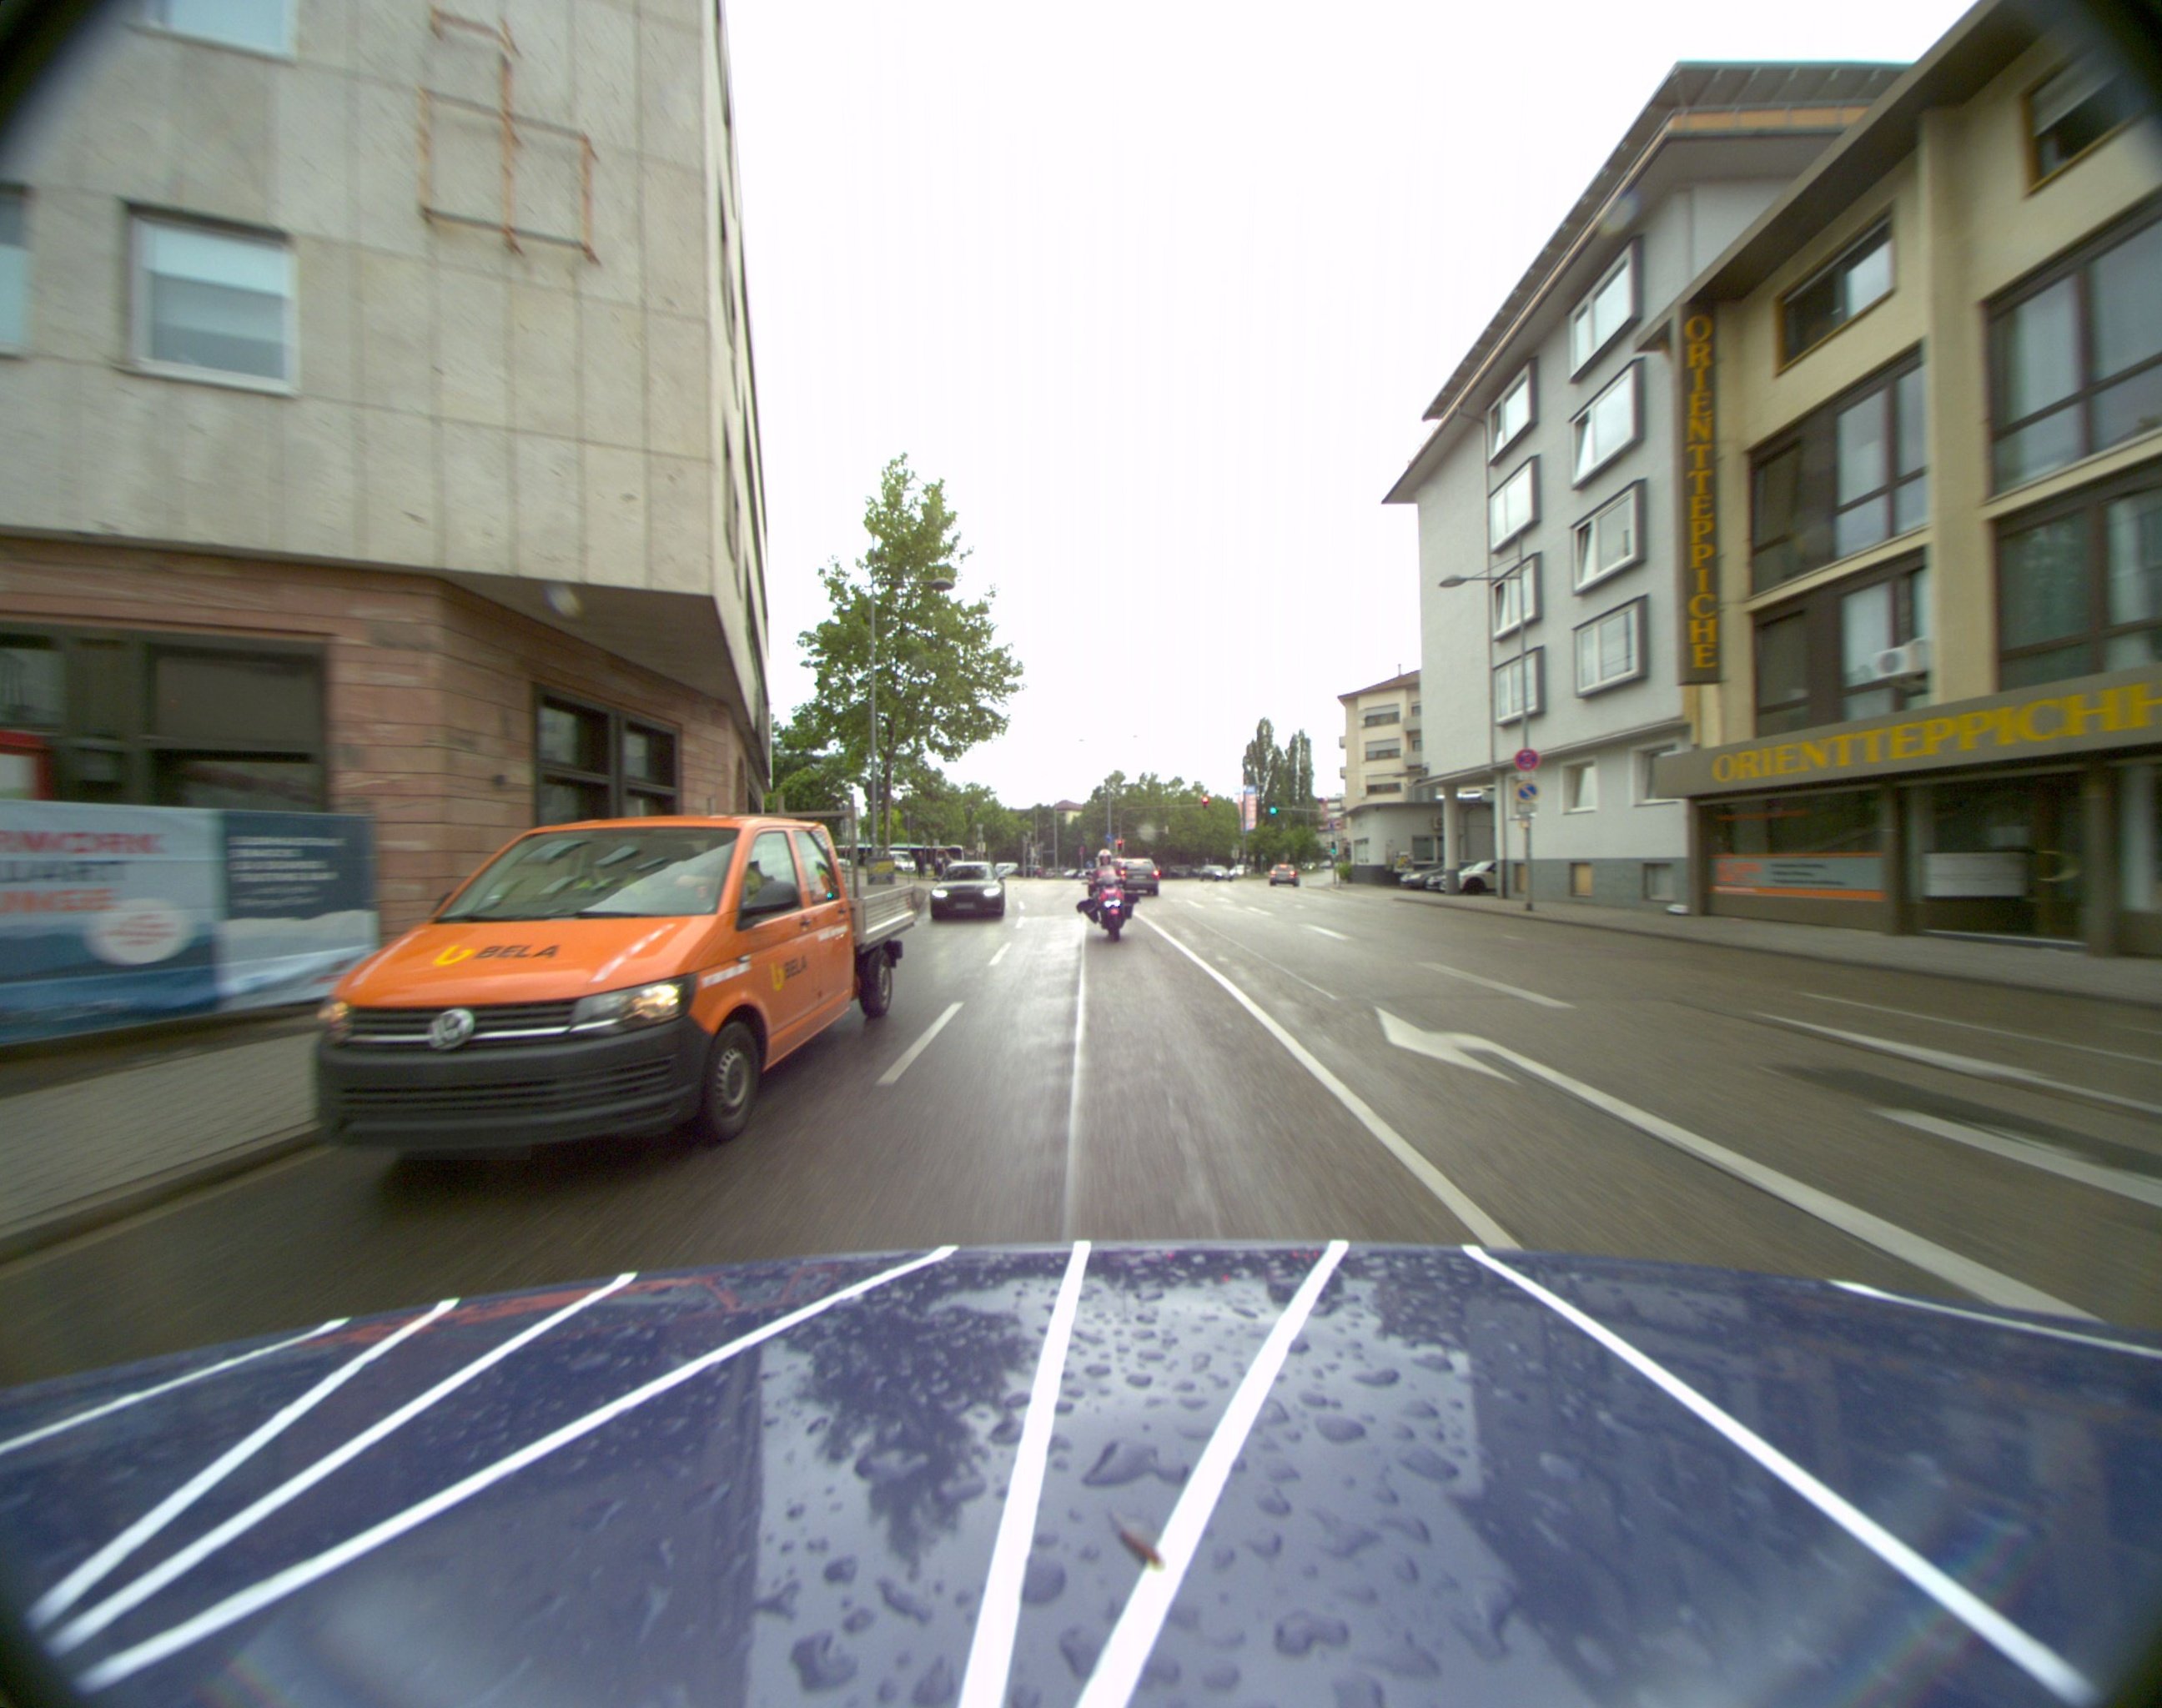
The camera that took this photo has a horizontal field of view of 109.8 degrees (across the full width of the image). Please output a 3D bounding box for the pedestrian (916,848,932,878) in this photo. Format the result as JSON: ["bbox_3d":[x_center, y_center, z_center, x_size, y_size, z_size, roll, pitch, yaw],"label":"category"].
[{"bbox_3d":[-9.211,0.507,44.503,0.573,1.676,0.961,4,0,-27],"label":"pedestrian"}]

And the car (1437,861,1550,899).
[{"bbox_3d":[16.432,1.025,30.358,3.632,1.330,1.495,2,0,-1],"label":"car"}]

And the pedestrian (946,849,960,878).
[{"bbox_3d":[-8.328,0.618,49.388,0.744,1.819,0.693,3,-1,-17],"label":"pedestrian"}]

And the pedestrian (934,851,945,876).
[{"bbox_3d":[-9.946,0.685,53.357,0.559,1.695,0.527,2,-1,-26],"label":"pedestrian"}]

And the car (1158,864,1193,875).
[{"bbox_3d":[14.233,2.379,114.308,4.742,1.396,1.866,-4,-2,31],"label":"car"}]

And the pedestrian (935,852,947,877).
[{"bbox_3d":[-9.060,0.662,49.280,0.602,1.590,0.706,3,0,-16],"label":"pedestrian"}]

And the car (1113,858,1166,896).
[{"bbox_3d":[2.314,0.896,31.170,1.737,1.431,4.413,0,0,-1],"label":"car"}]

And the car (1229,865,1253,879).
[{"bbox_3d":[19.130,2.136,90.722,1.893,1.566,4.369,1,-1,25],"label":"car"}]

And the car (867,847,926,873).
[{"bbox_3d":[-16.386,0.514,67.304,2.260,2.221,6.323,1,0,-42],"label":"car"}]

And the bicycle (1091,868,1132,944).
[{"bbox_3d":[0.605,0.938,14.622,0.717,1.298,2.428,-1,0,3],"label":"bicycle"}]

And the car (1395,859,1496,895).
[{"bbox_3d":[16.955,1.047,35.502,3.821,1.413,1.797,2,1,2],"label":"car"}]

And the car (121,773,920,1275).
[{"bbox_3d":[-2.951,0.739,5.975,2.107,2.077,5.542,-1,0,0],"label":"car"}]

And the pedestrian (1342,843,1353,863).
[{"bbox_3d":[24.728,-0.077,70.538,0.778,1.718,0.662,-5,-3,30],"label":"pedestrian"}]

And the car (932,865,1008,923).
[{"bbox_3d":[-3.222,1.067,21.850,1.898,1.396,4.357,-2,0,-9],"label":"car"}]

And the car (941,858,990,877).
[{"bbox_3d":[-8.986,1.043,58.994,1.799,1.366,4.085,1,0,-42],"label":"car"}]

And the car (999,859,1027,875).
[{"bbox_3d":[-10.472,2.021,116.993,1.968,2.305,5.023,1,-2,25],"label":"car"}]

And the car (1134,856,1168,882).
[{"bbox_3d":[4.645,1.012,50.148,1.758,1.604,4.216,1,-1,12],"label":"car"}]

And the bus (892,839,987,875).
[{"bbox_3d":[-13.865,0.250,73.993,9.631,3.197,2.711,1,-1,31],"label":"bus"}]

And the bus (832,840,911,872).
[{"bbox_3d":[-21.679,0.156,78.604,8.536,3.162,2.693,0,0,31],"label":"bus"}]

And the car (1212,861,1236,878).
[{"bbox_3d":[12.917,1.387,68.830,1.802,1.425,4.400,-2,-1,8],"label":"car"}]

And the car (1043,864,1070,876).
[{"bbox_3d":[-3.382,2.259,105.228,1.758,1.581,4.186,1,-2,28],"label":"car"}]

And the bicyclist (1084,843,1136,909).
[{"bbox_3d":[0.568,0.439,14.556,0.963,1.218,0.715,-1,-4,3],"label":"bicyclist"}]

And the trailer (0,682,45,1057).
[{"bbox_3d":[-9.289,0.132,3.656,2.640,3.158,5.704,1,0,-25],"label":"trailer"}]

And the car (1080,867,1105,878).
[{"bbox_3d":[1.622,2.619,108.285,1.734,1.431,4.454,1,-2,27],"label":"car"}]

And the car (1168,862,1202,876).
[{"bbox_3d":[16.165,2.309,118.288,4.839,1.930,1.955,-4,-2,31],"label":"car"}]

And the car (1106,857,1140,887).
[{"bbox_3d":[2.132,0.895,38.578,1.647,1.444,3.991,0,-1,3],"label":"car"}]

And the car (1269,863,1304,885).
[{"bbox_3d":[13.750,1.359,50.638,1.730,1.357,4.118,-1,-2,22],"label":"car"}]

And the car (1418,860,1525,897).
[{"bbox_3d":[16.978,1.034,33.153,3.765,1.412,1.638,2,0,2],"label":"car"}]

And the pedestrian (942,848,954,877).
[{"bbox_3d":[-9.349,0.610,53.587,0.589,2.001,0.786,2,-1,-24],"label":"pedestrian"}]
